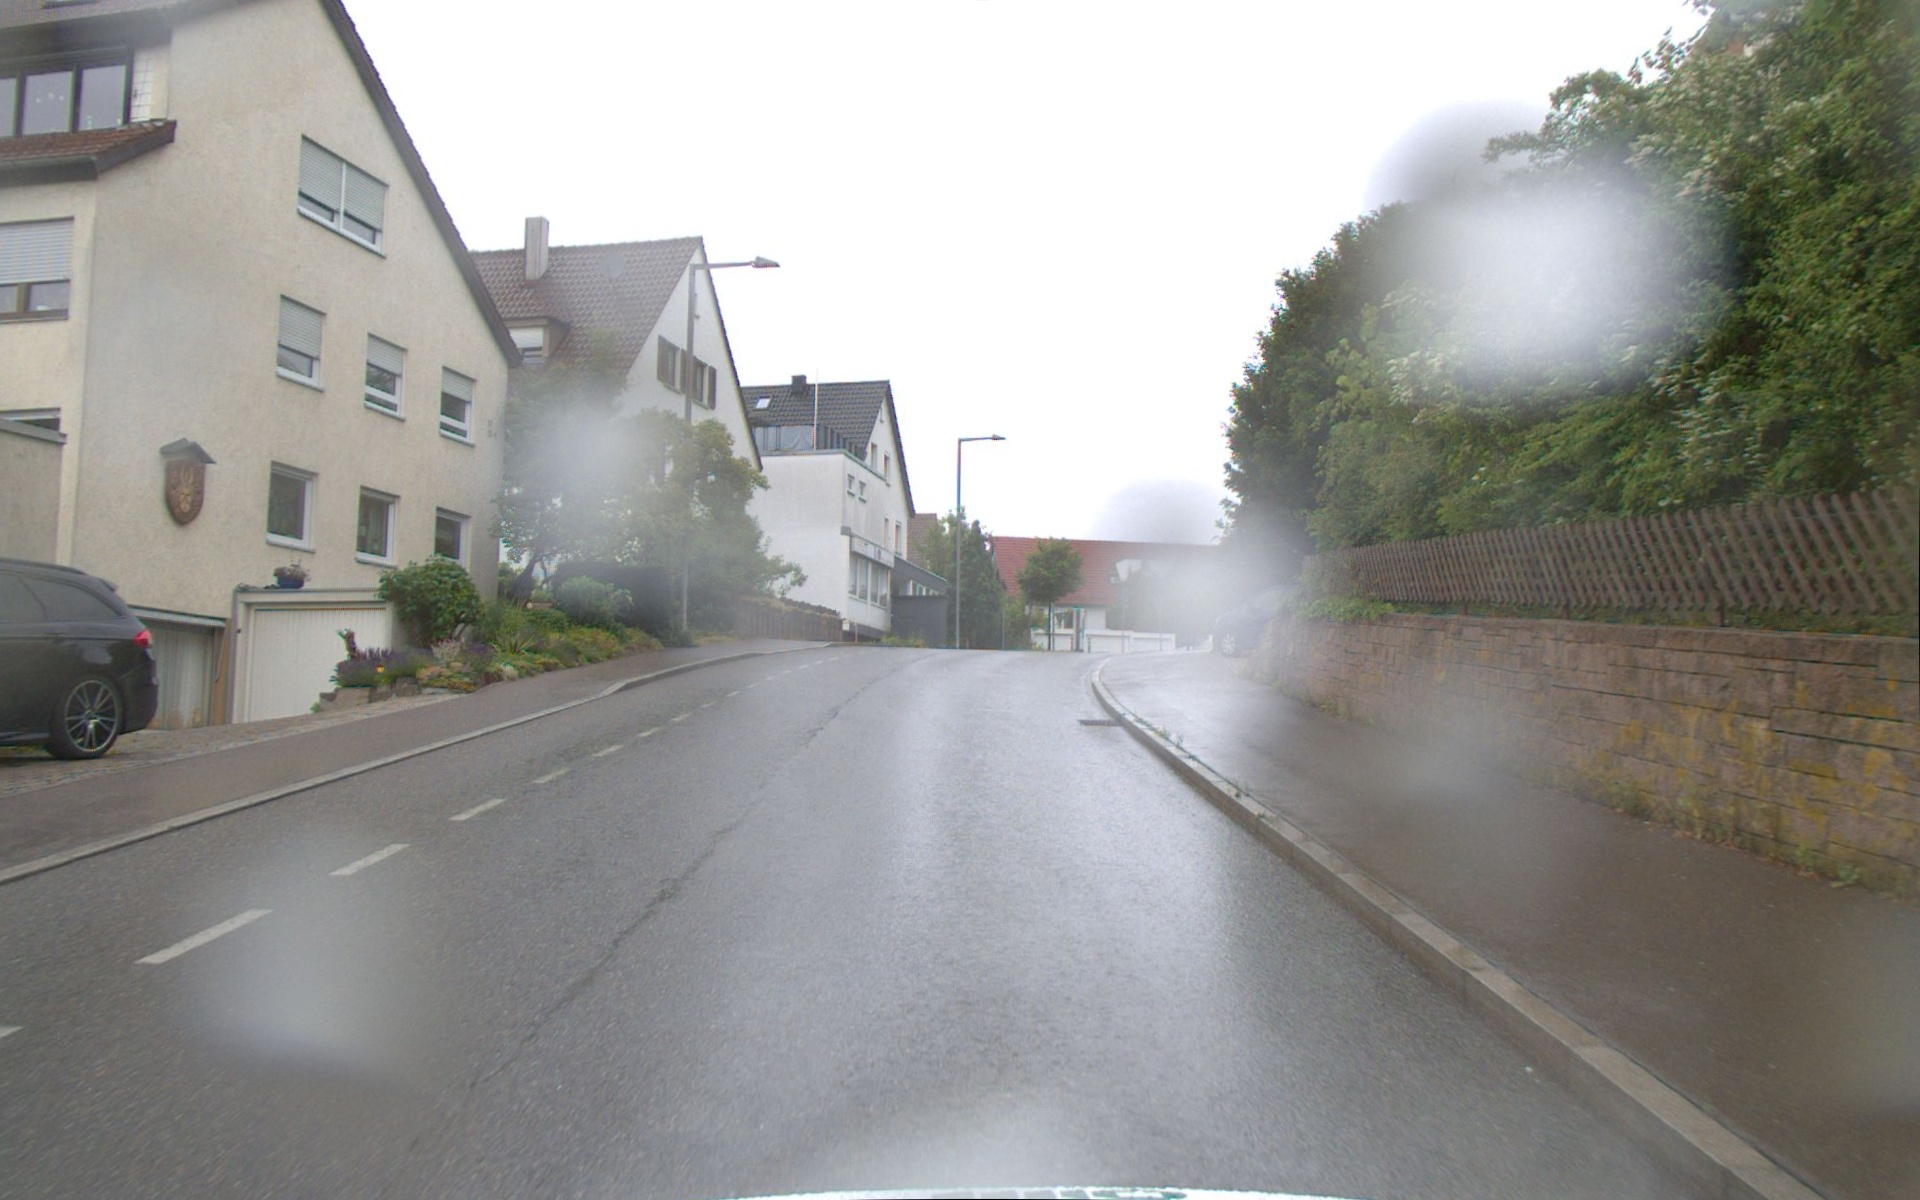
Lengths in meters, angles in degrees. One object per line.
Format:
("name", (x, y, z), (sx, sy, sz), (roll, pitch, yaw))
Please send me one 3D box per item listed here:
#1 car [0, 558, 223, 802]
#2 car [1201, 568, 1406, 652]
("car", (-7.596, 0.554, 11.490), (1.932, 1.688, 4.967), (0, 0, 13))
("car", (7.675, 0.253, 37.302), (1.839, 1.634, 4.279), (-5, 1, -39))
